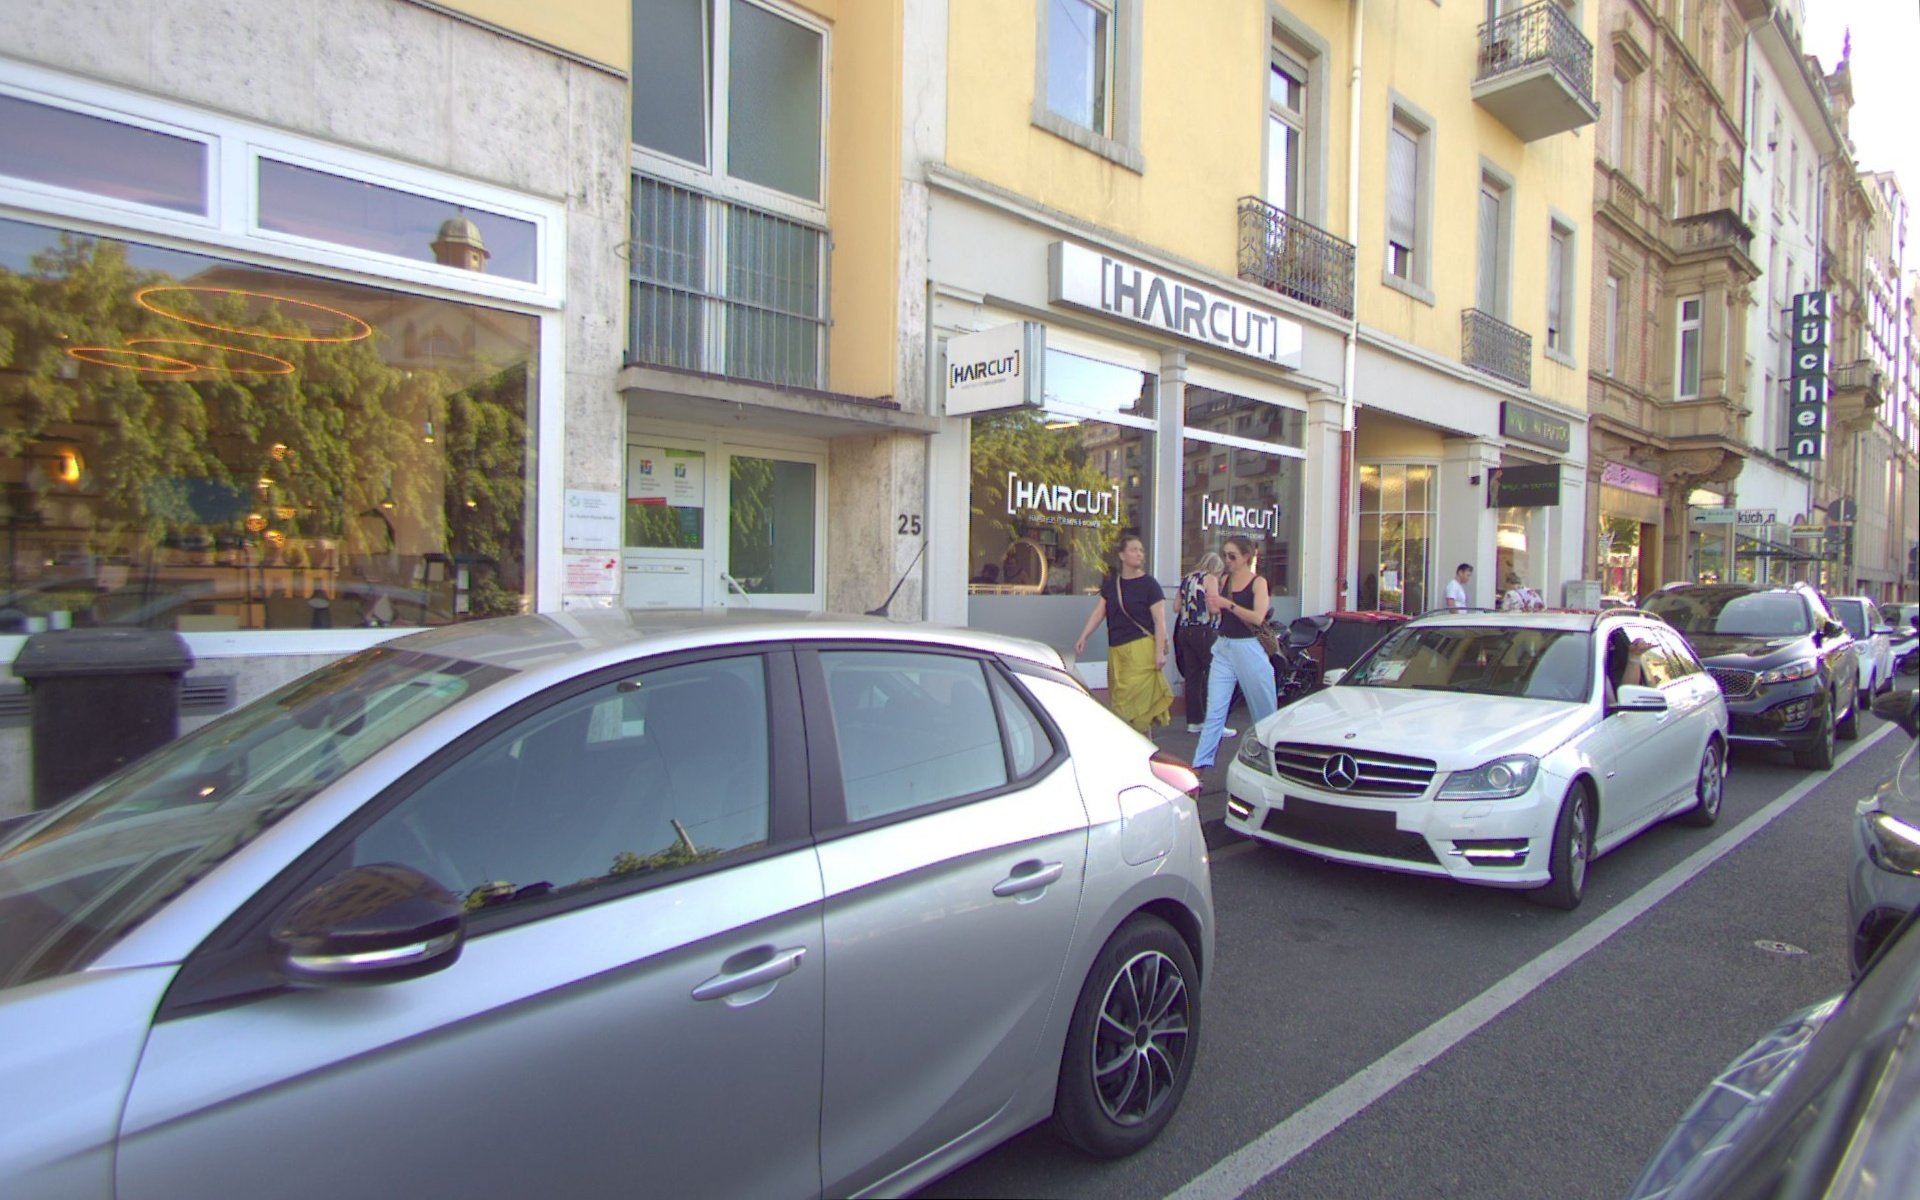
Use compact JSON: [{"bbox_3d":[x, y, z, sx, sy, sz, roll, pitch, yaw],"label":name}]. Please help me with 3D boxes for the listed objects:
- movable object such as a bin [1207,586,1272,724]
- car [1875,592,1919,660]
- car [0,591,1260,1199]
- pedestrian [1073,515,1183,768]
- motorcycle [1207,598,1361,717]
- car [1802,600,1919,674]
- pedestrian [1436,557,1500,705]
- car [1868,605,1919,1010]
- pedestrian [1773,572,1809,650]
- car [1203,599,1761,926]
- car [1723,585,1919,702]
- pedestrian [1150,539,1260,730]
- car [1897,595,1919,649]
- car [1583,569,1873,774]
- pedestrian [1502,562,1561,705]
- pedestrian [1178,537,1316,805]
[{"bbox_3d":[2.651,0.507,9.604,0.387,1.253,0.391,0,3,-41],"label":"movable object such as a bin"},{"bbox_3d":[22.224,0.553,23.064,4.016,1.450,1.657,-1,0,-42],"label":"car"},{"bbox_3d":[-0.984,0.713,2.263,3.597,1.445,1.549,-1,1,-42],"label":"car"},{"bbox_3d":[1.273,0.289,7.625,0.733,1.806,0.565,1,0,18],"label":"pedestrian"},{"bbox_3d":[3.405,0.549,10.544,1.920,1.092,0.567,-1,4,-41],"label":"motorcycle"},{"bbox_3d":[18.126,0.656,19.971,4.016,1.282,1.800,-1,1,-42],"label":"car"},{"bbox_3d":[7.034,0.417,14.020,0.679,2.008,0.375,1,1,-18],"label":"pedestrian"},{"bbox_3d":[5.288,0.708,4.191,3.930,1.376,1.801,-1,0,-41],"label":"car"},{"bbox_3d":[20.372,0.265,24.814,0.653,1.874,0.574,0,0,-40],"label":"pedestrian"},{"bbox_3d":[3.543,0.705,6.466,4.302,1.376,1.703,-1,0,-41],"label":"car"},{"bbox_3d":[13.115,0.547,15.311,4.016,1.546,1.800,-1,0,-42],"label":"car"},{"bbox_3d":[2.248,0.285,9.316,0.595,1.674,0.719,0,3,-40],"label":"pedestrian"},{"bbox_3d":[26.261,0.558,26.820,3.773,1.357,1.800,-1,1,-42],"label":"car"},{"bbox_3d":[7.973,0.557,10.346,4.176,1.659,1.799,-1,0,-45],"label":"car"},{"bbox_3d":[7.719,0.438,13.692,0.567,1.874,0.661,0,0,19],"label":"pedestrian"},{"bbox_3d":[1.937,0.442,6.833,0.636,1.686,0.658,0,0,-42],"label":"pedestrian"}]
